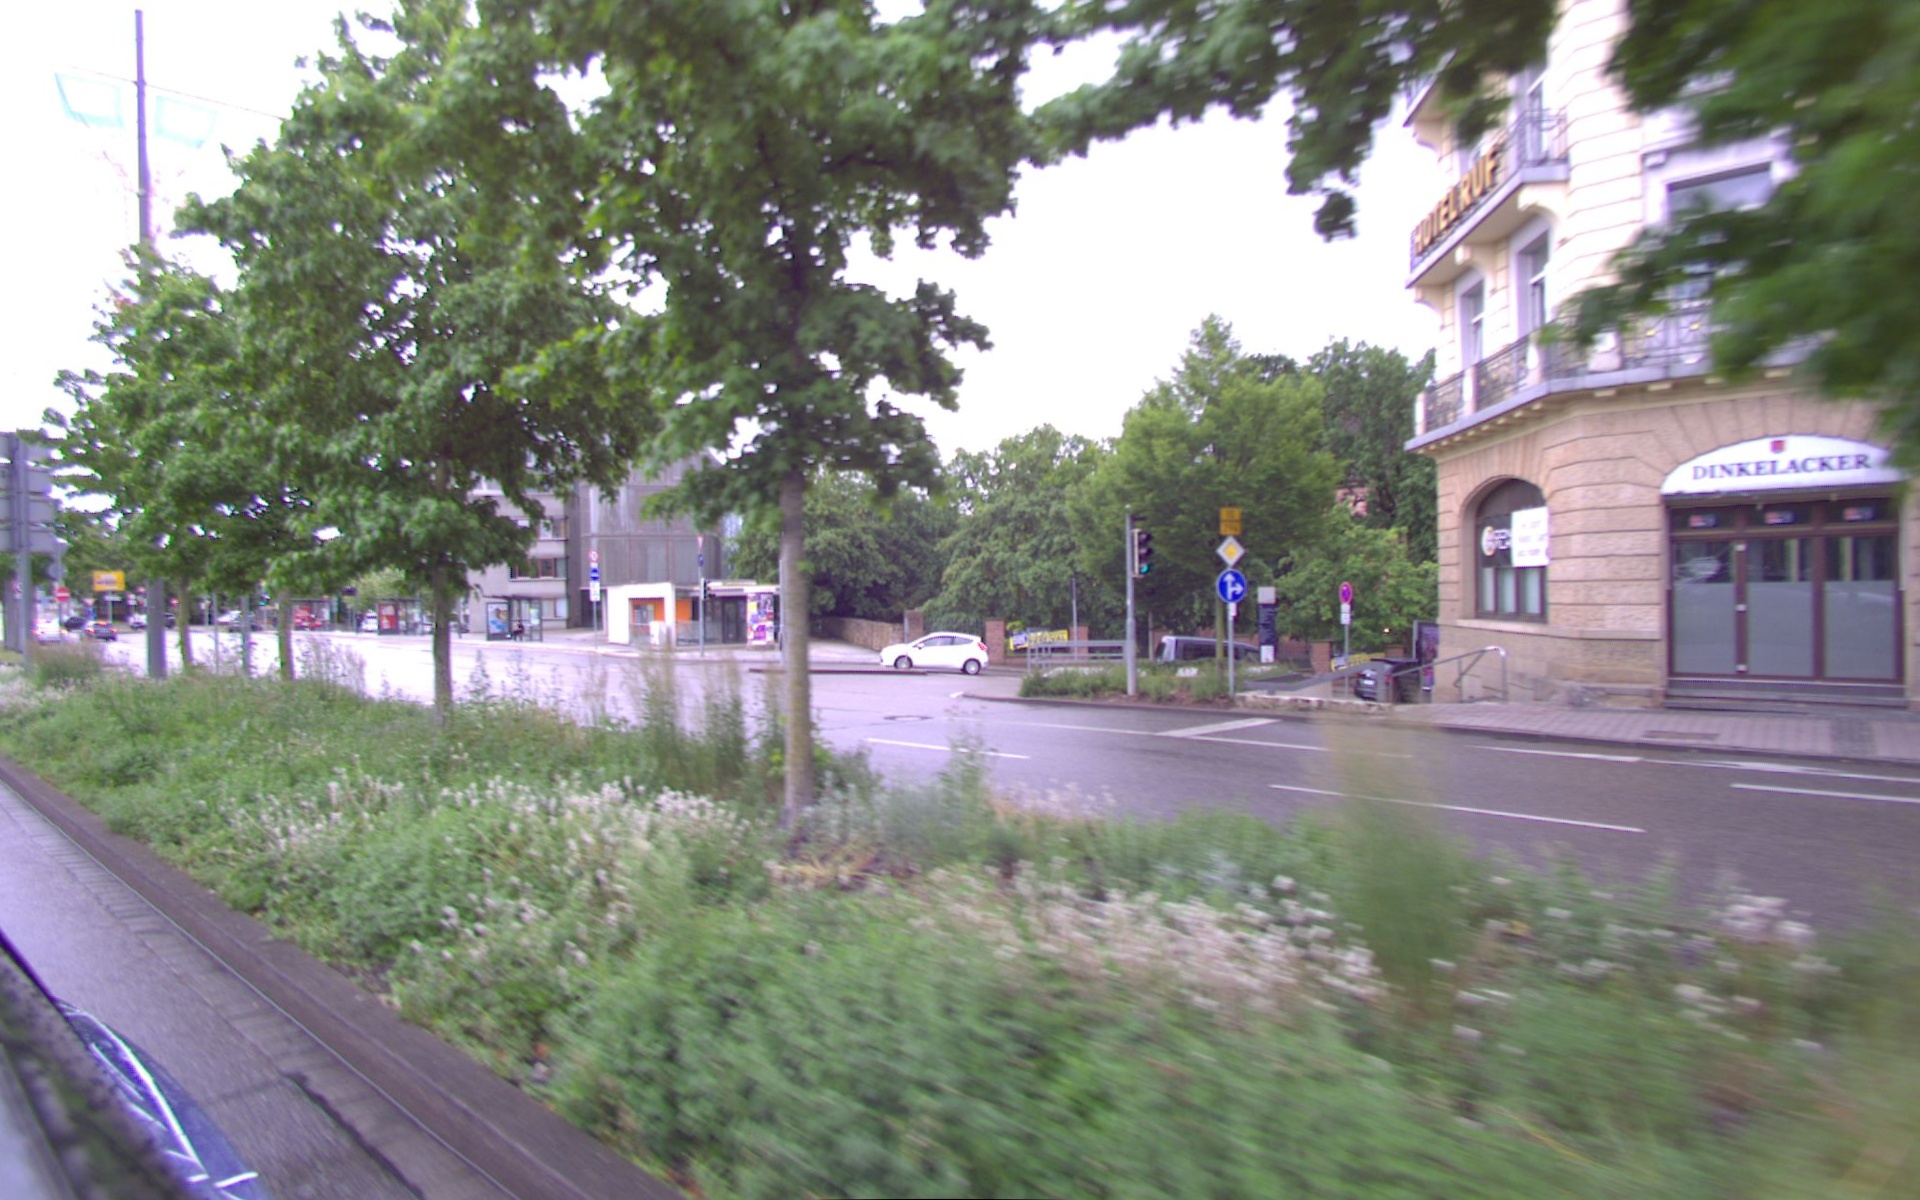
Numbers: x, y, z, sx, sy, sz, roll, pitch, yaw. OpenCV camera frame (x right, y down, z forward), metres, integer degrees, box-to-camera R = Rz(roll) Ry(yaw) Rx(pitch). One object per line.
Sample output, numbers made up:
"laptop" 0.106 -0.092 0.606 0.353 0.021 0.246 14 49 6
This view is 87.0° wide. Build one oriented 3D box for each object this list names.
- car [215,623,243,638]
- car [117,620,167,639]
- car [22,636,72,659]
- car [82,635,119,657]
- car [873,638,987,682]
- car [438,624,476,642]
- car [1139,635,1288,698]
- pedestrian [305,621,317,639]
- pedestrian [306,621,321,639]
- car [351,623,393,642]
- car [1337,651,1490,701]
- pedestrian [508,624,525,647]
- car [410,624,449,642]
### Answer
"car" -73.561 3.078 101.819 3.865 1.524 1.658 -1 -2 44
"car" -80.881 2.918 100.176 1.865 1.726 4.224 1 -2 -7
"car" -60.312 3.118 66.806 4.163 1.363 1.984 -1 -2 42
"car" -63.574 3.375 74.809 4.454 1.477 1.675 -1 -2 45
"car" -1.113 2.142 36.369 3.939 1.409 1.637 -1 -2 -5
"car" -49.353 3.254 99.412 1.849 1.715 4.161 1 -2 -4
"car" 7.466 1.927 29.961 3.936 1.772 1.638 0 -2 -8
"pedestrian" -55.408 2.567 86.425 0.722 1.501 0.735 2 -2 -41
"pedestrian" -54.747 2.554 85.680 0.969 1.501 0.735 2 -2 -39
"car" -57.309 3.164 98.663 1.849 1.715 4.161 1 -2 -4
"car" 13.766 2.280 30.821 3.936 1.409 1.638 0 -2 -8
"pedestrian" -26.062 2.087 59.486 0.659 1.309 0.720 3 -3 -44
"car" -51.825 3.234 98.943 1.849 1.715 4.161 0 -2 -4
